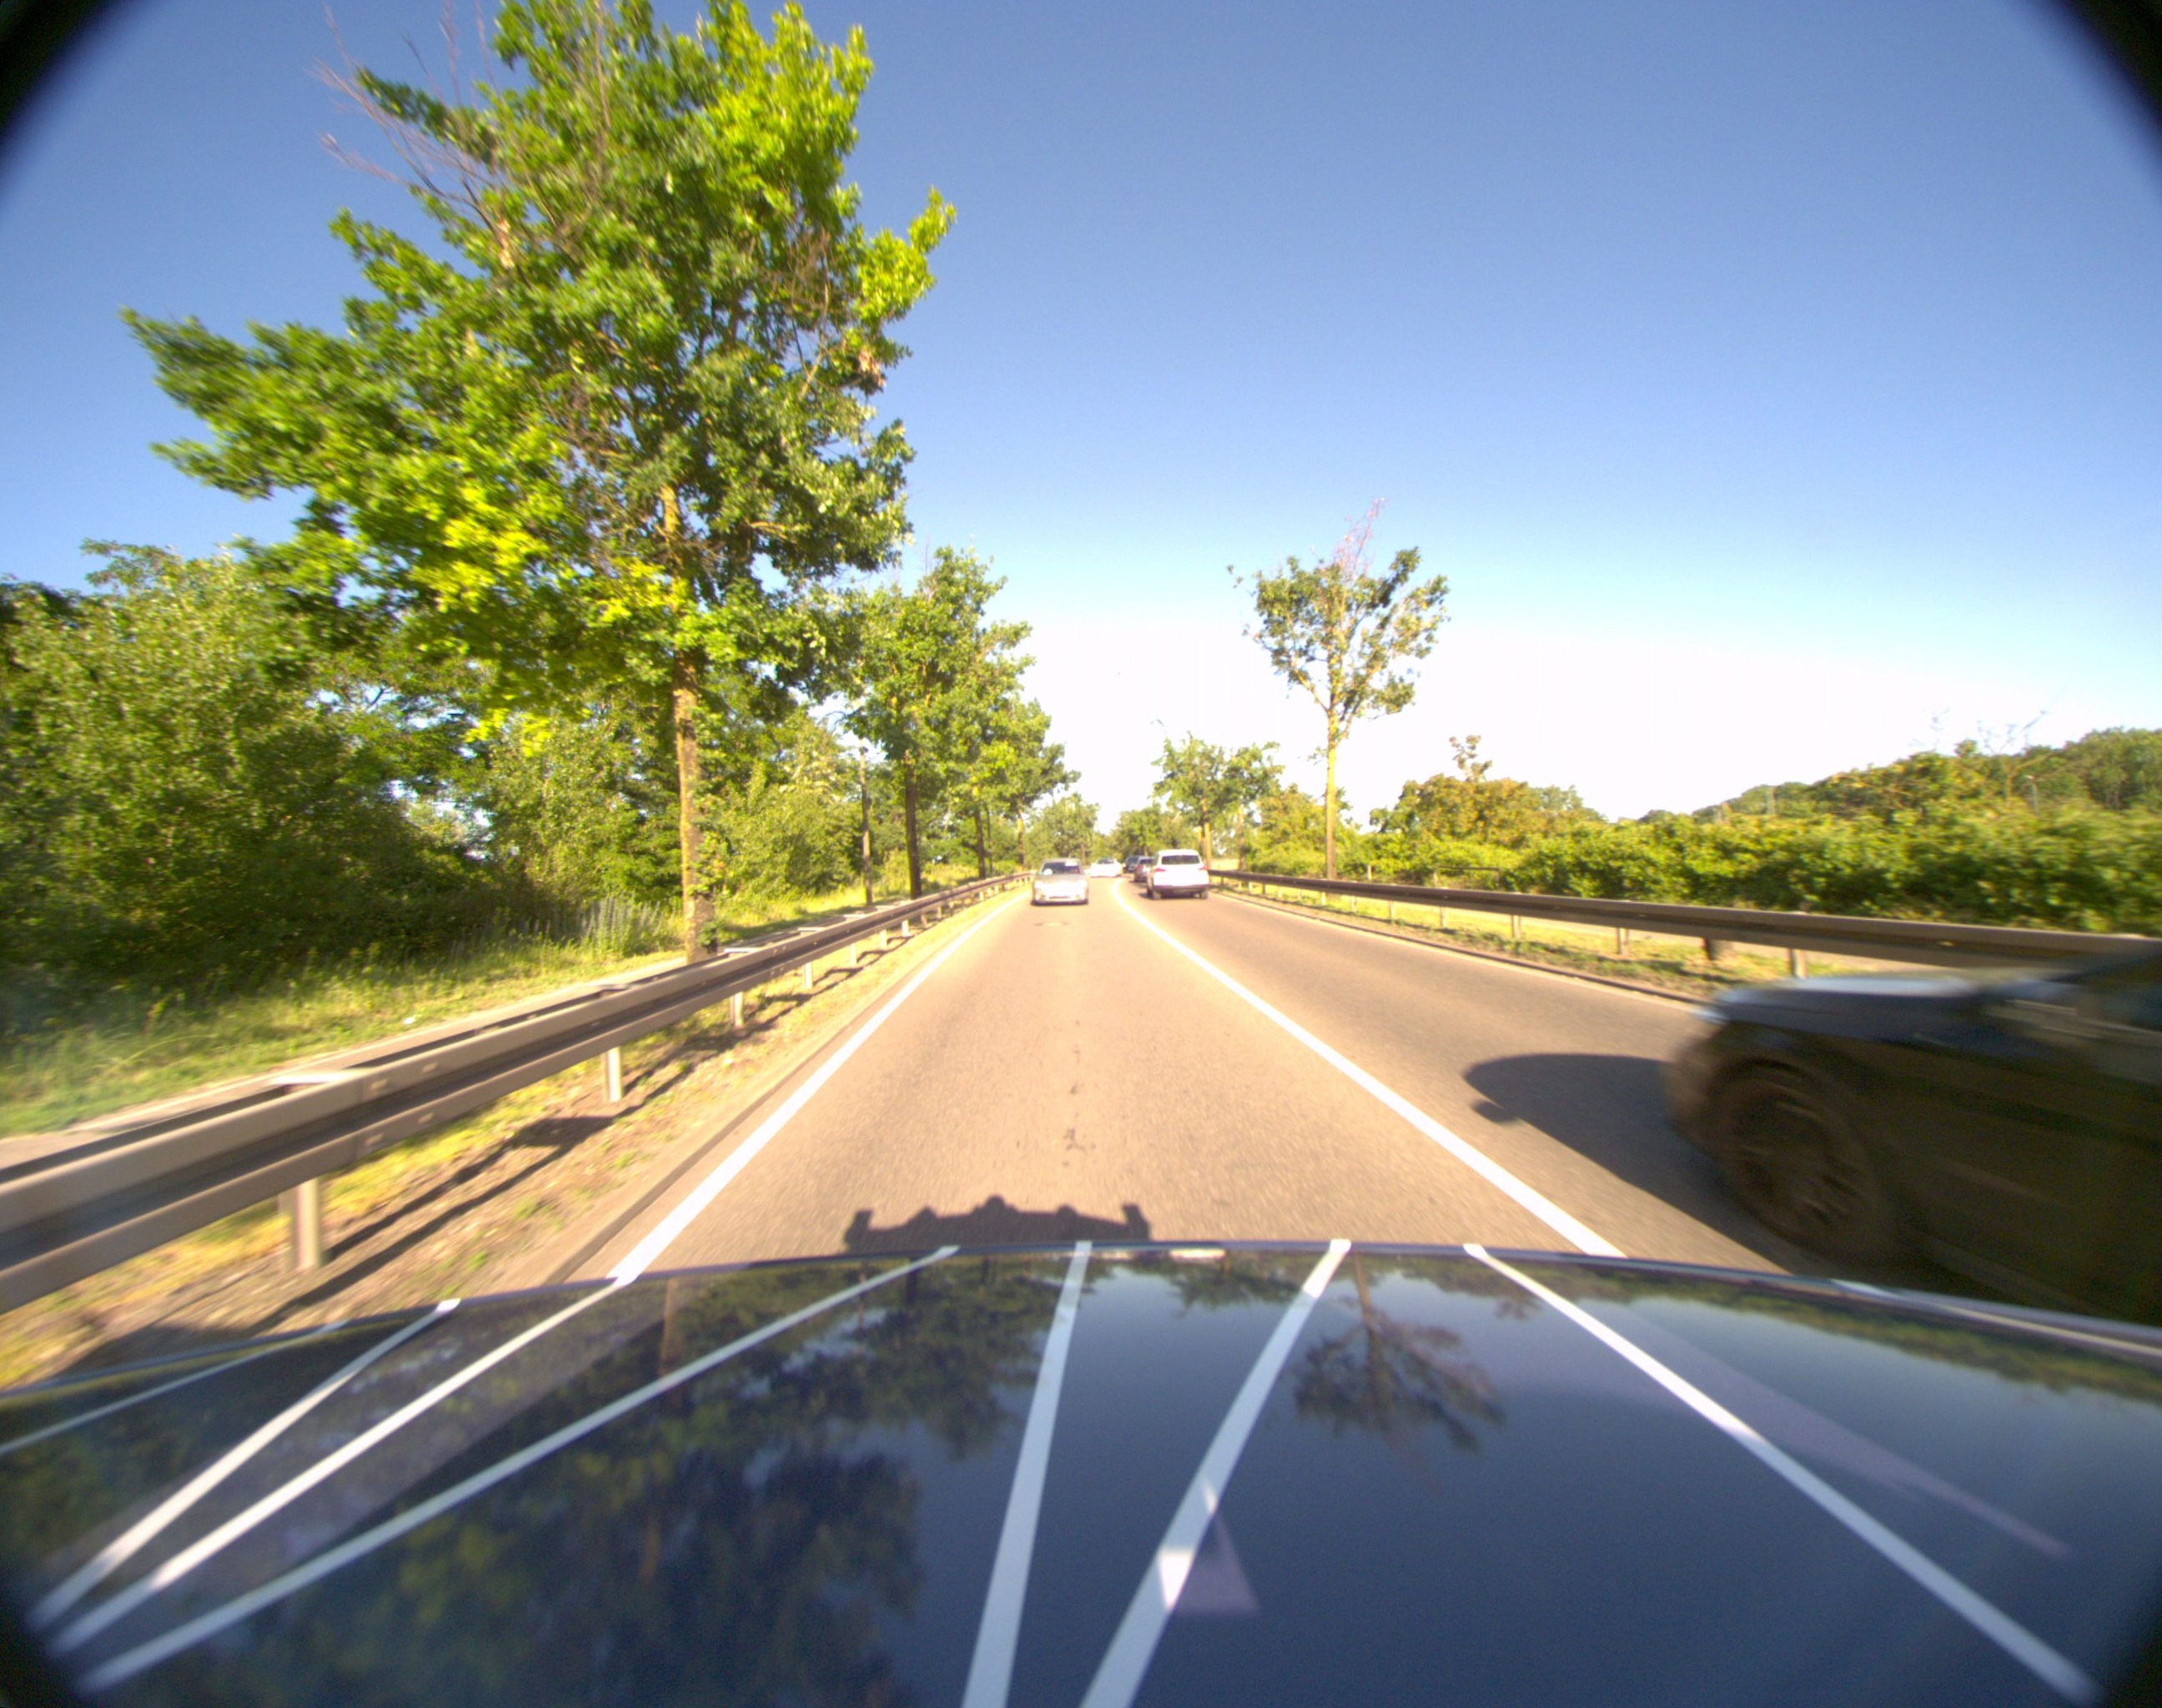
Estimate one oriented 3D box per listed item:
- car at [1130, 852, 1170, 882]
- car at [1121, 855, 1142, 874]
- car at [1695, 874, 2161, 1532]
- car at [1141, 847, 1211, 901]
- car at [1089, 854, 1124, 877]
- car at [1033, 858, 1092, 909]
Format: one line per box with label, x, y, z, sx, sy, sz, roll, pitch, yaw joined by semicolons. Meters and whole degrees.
car;3.786;0.679;42.263;1.854;1.483;4.716;-2;0;1
car;4.684;0.966;70.380;1.682;1.694;3.607;-2;0;7
car;3.328;0.829;0.951;1.695;1.432;4.216;-2;0;0
car;3.183;0.644;26.263;1.733;1.648;3.981;-2;0;-2
car;1.956;0.839;57.233;2.148;1.558;4.200;-1;0;8
car;-0.561;0.890;24.581;1.683;1.433;3.858;-2;0;0
